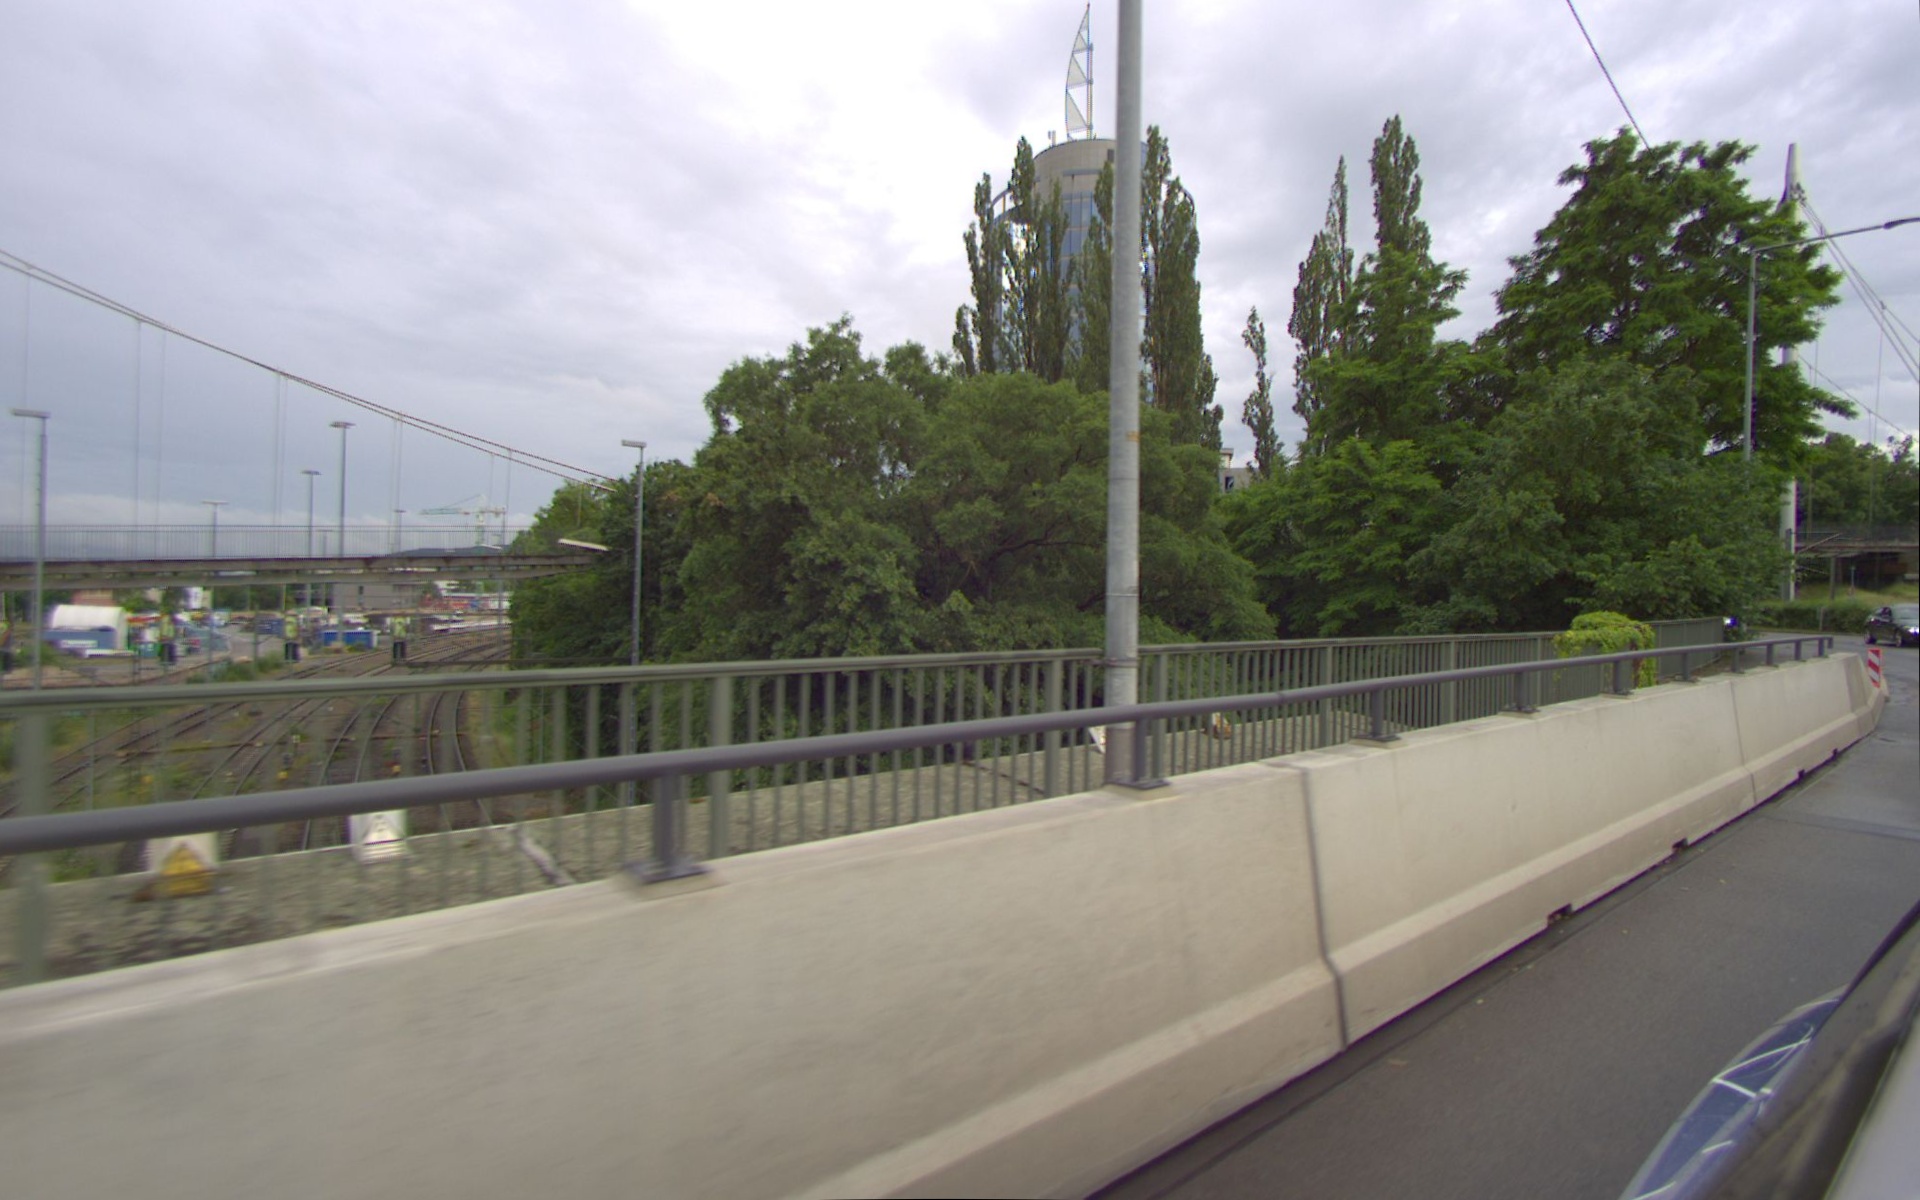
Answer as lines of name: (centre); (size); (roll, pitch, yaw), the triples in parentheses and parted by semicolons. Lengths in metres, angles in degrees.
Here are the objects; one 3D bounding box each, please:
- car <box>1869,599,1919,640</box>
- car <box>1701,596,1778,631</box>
car: (33.978, 0.666, 35.682); (1.718, 1.369, 3.967); (0, 1, 24)
car: (37.187, 0.604, 48.382); (1.747, 1.520, 3.975); (0, 1, 19)
